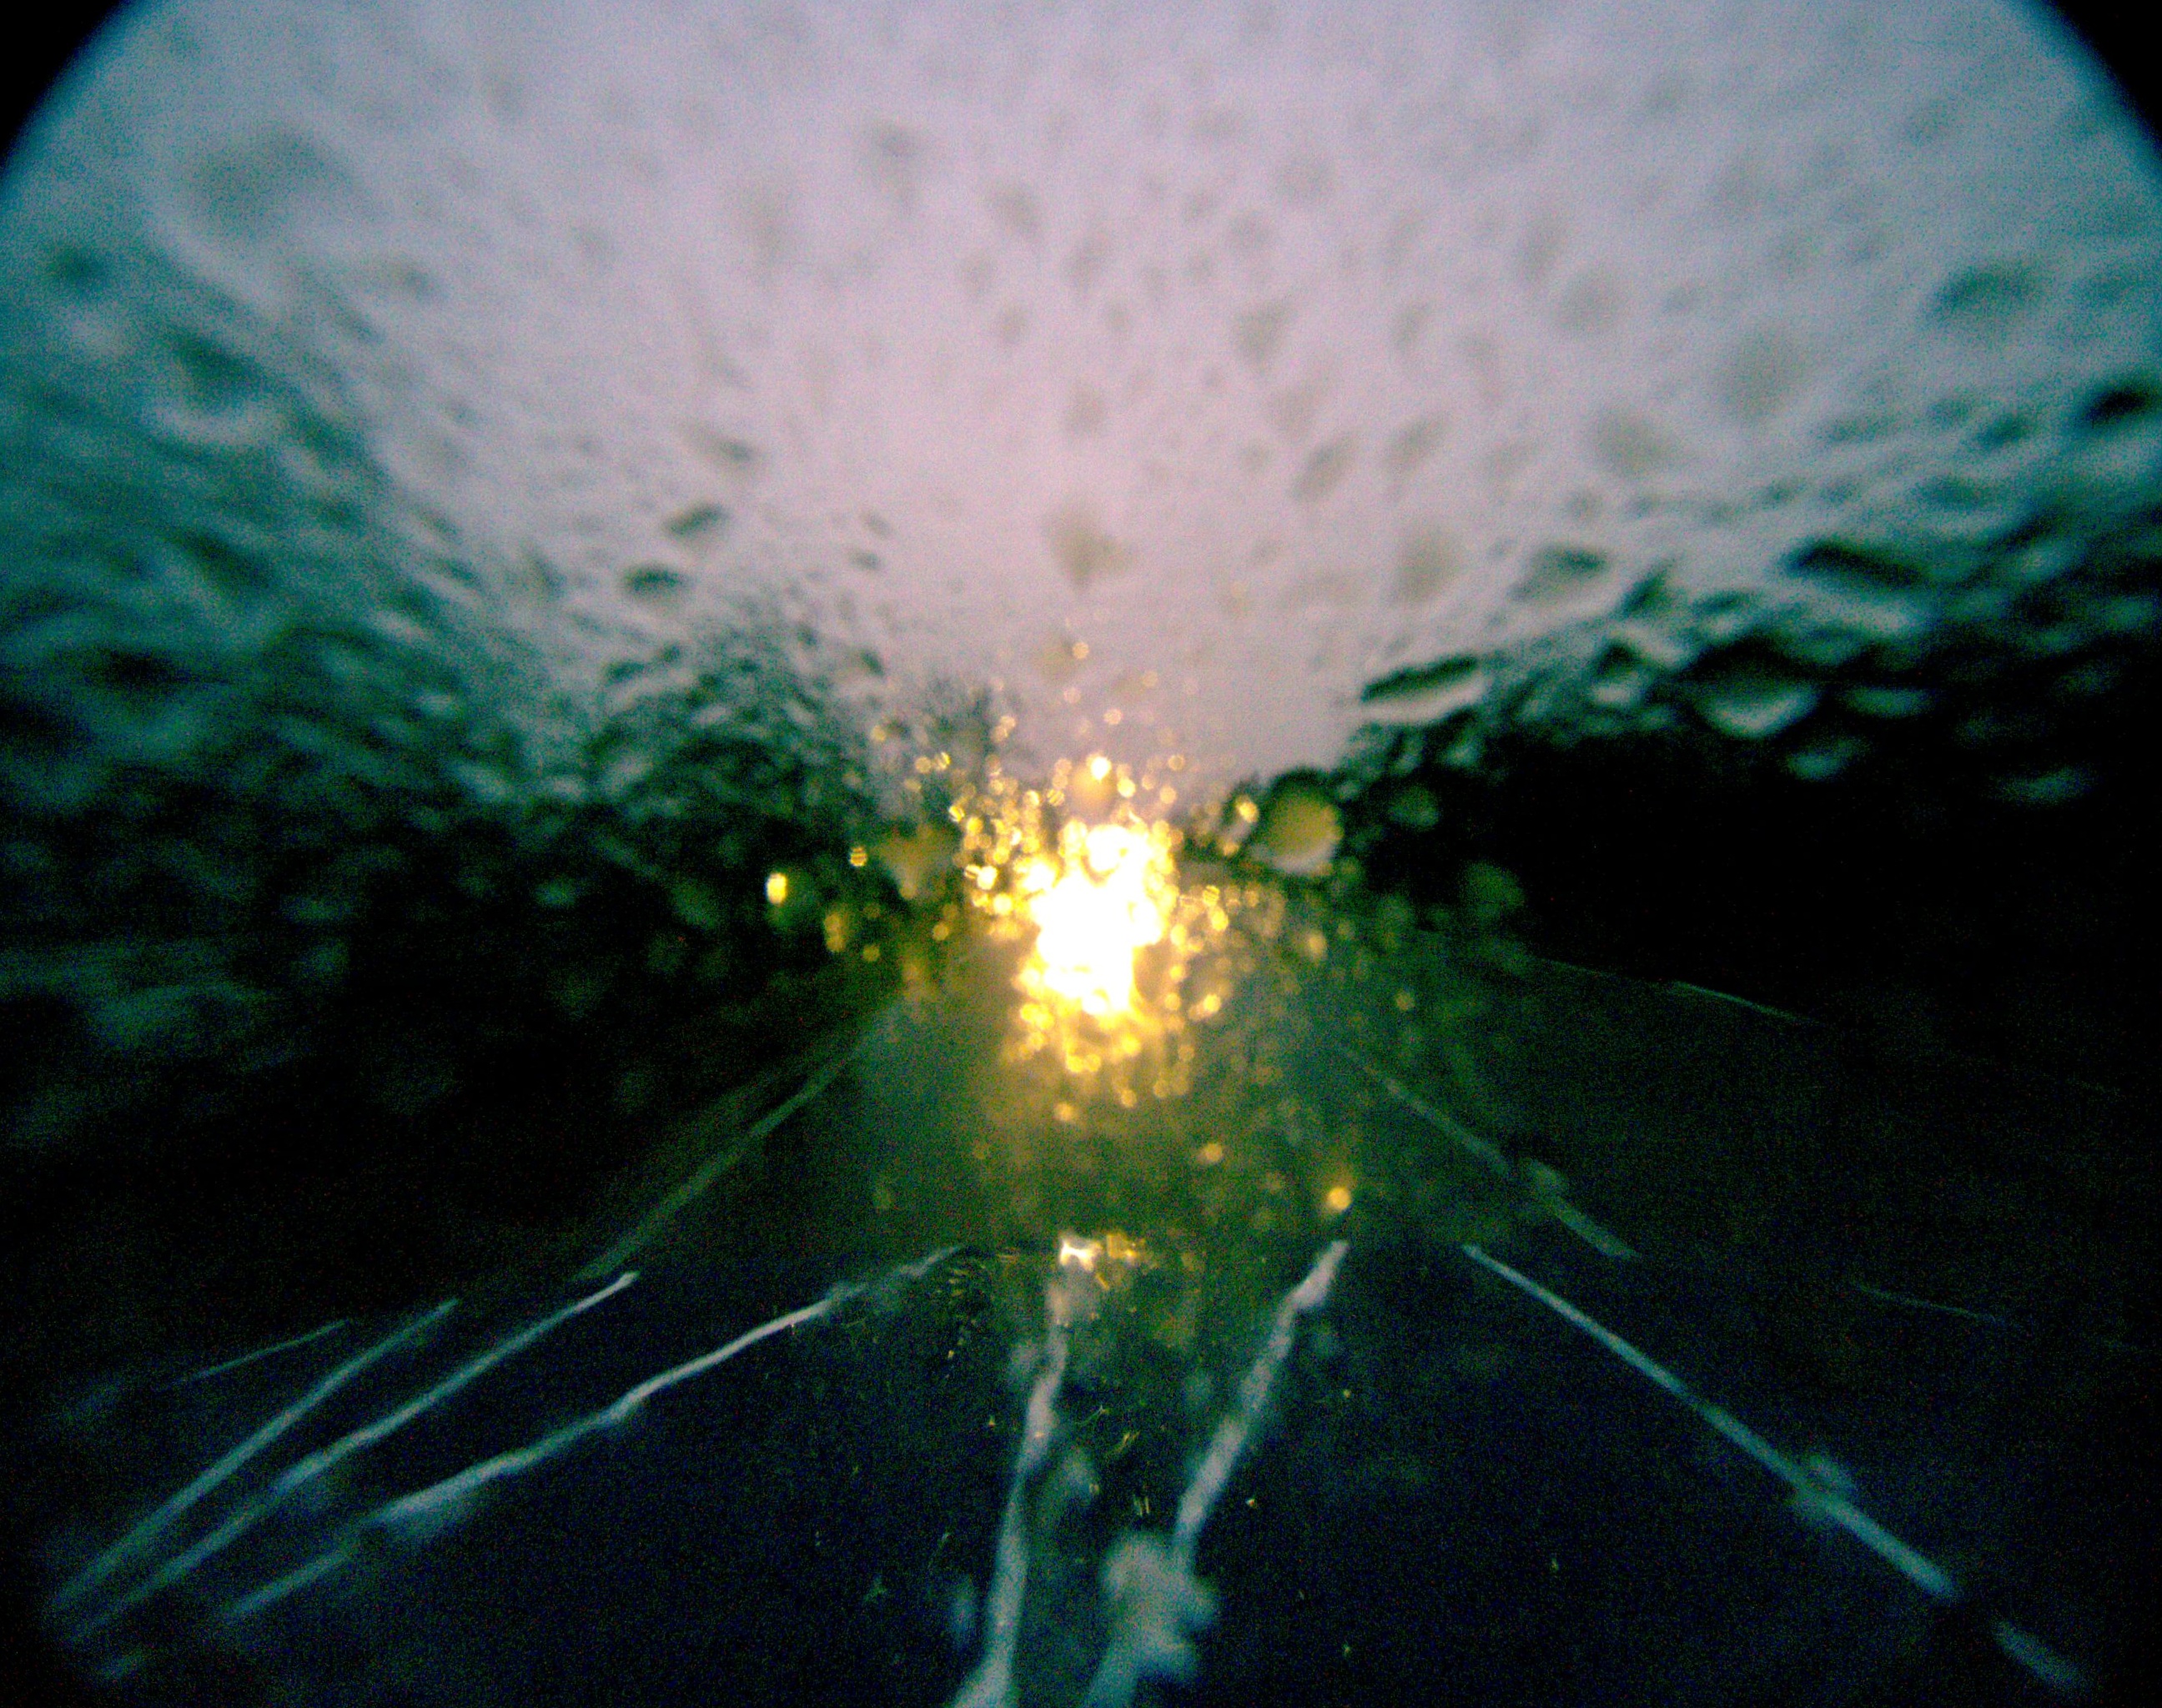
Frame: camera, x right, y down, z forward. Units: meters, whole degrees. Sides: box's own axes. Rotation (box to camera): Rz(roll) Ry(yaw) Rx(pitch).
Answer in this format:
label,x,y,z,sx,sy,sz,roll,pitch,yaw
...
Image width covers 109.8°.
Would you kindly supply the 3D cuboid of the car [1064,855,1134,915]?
label,x,y,z,sx,sy,sz,roll,pitch,yaw
car,0.608,0.924,24.458,1.998,1.601,4.000,-3,1,2
